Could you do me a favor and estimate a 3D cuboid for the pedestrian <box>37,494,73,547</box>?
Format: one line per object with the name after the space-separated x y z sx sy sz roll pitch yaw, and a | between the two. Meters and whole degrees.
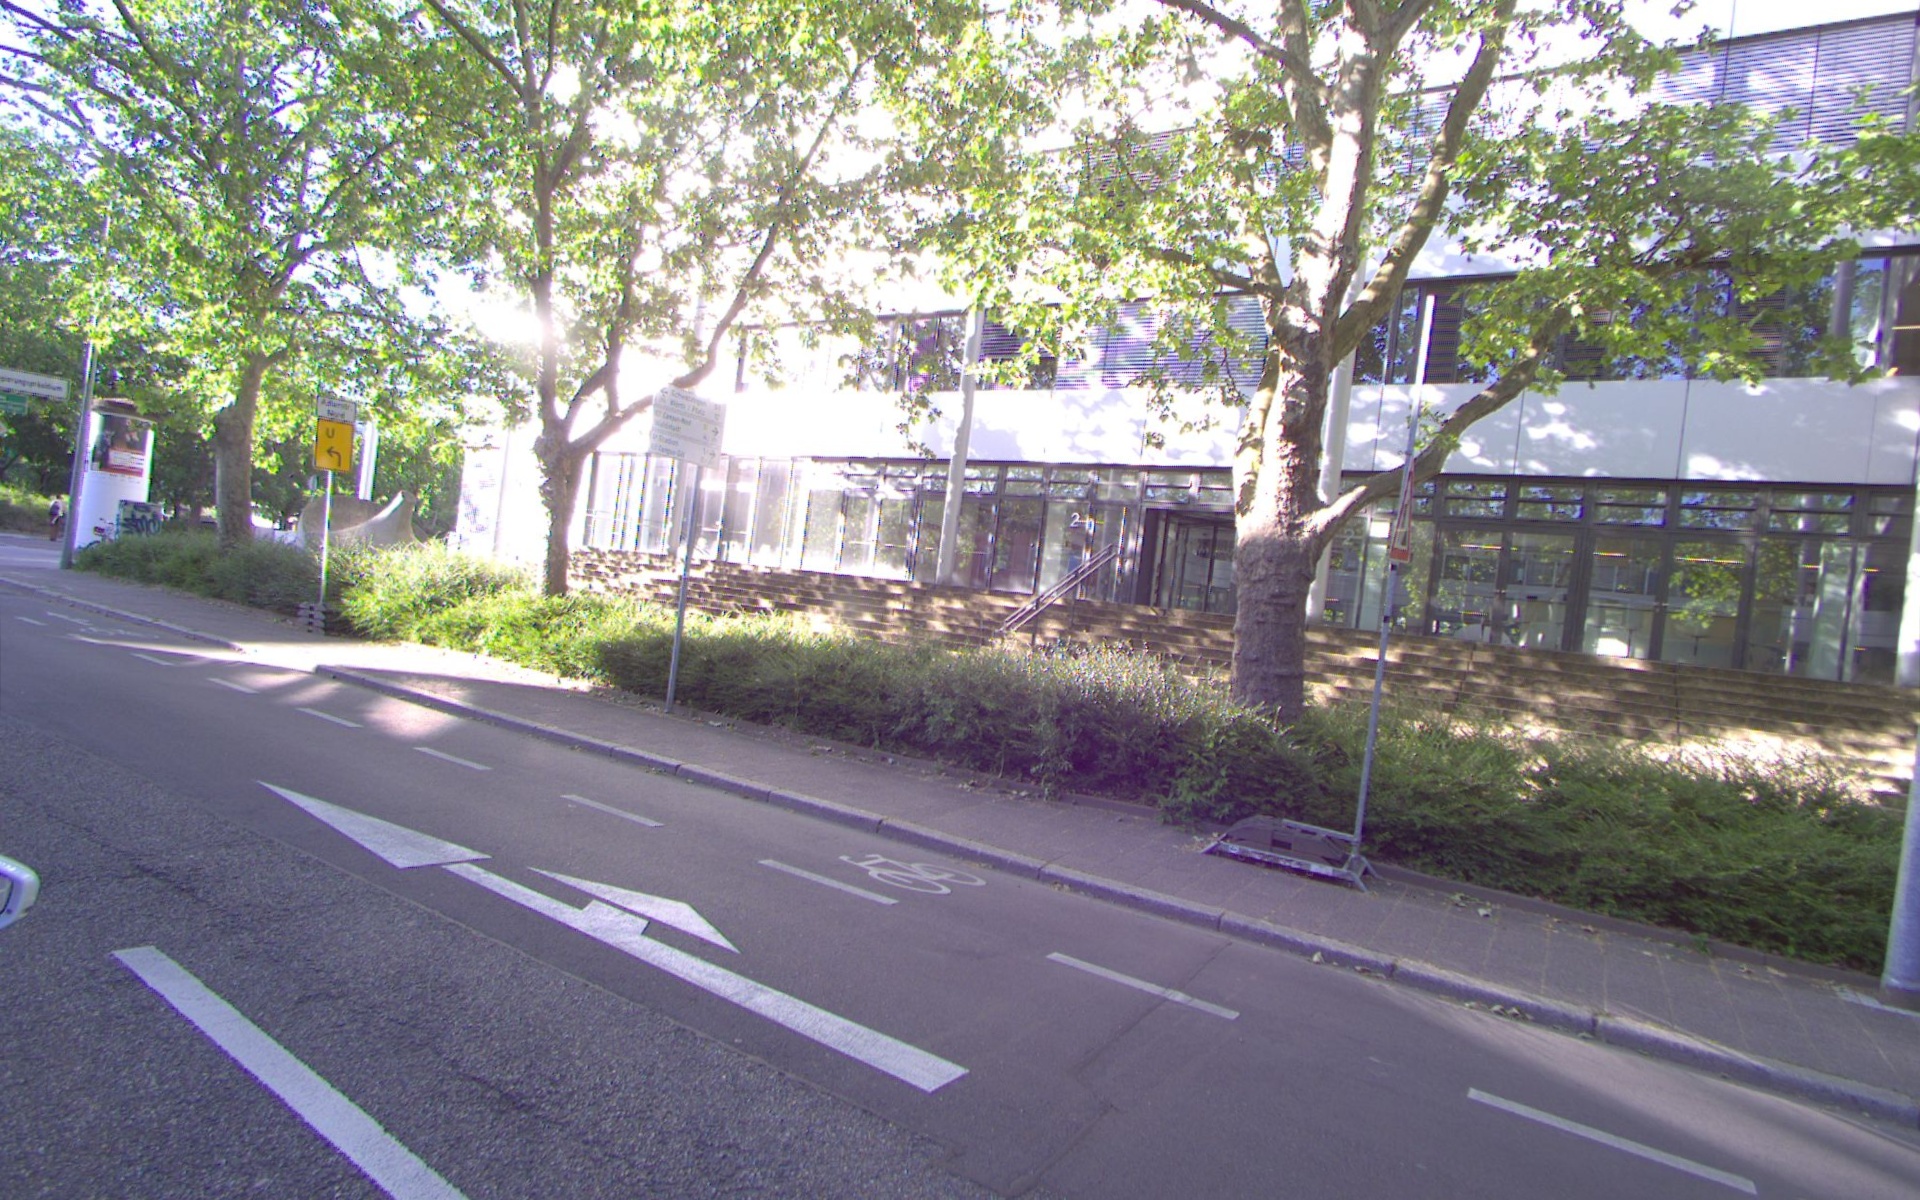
-33.057 -2.899 36.740 0.672 1.793 0.613 8 -1 -29 | pedestrian

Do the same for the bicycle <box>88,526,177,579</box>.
-19.047 -1.076 23.182 0.295 0.991 1.484 6 -2 37 | bicycle
